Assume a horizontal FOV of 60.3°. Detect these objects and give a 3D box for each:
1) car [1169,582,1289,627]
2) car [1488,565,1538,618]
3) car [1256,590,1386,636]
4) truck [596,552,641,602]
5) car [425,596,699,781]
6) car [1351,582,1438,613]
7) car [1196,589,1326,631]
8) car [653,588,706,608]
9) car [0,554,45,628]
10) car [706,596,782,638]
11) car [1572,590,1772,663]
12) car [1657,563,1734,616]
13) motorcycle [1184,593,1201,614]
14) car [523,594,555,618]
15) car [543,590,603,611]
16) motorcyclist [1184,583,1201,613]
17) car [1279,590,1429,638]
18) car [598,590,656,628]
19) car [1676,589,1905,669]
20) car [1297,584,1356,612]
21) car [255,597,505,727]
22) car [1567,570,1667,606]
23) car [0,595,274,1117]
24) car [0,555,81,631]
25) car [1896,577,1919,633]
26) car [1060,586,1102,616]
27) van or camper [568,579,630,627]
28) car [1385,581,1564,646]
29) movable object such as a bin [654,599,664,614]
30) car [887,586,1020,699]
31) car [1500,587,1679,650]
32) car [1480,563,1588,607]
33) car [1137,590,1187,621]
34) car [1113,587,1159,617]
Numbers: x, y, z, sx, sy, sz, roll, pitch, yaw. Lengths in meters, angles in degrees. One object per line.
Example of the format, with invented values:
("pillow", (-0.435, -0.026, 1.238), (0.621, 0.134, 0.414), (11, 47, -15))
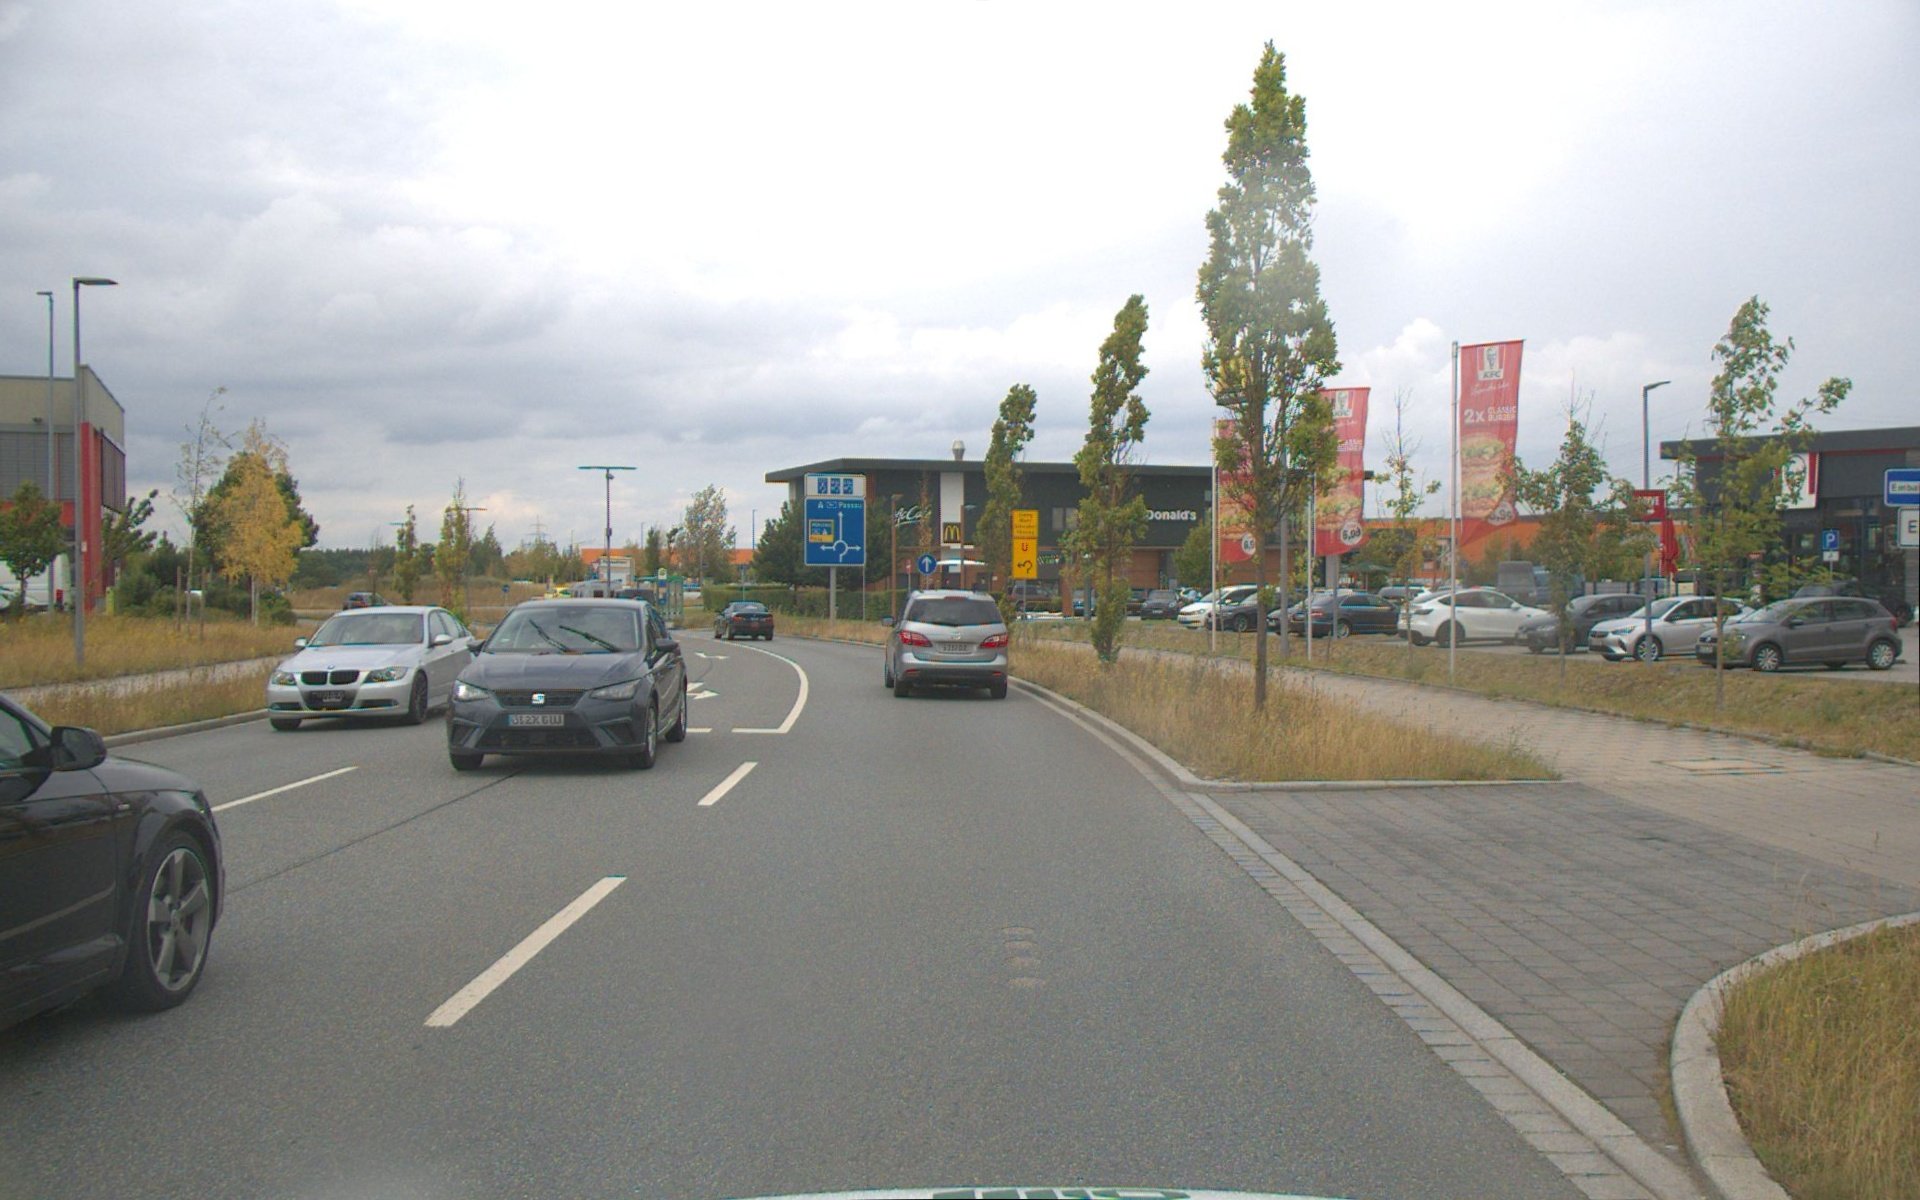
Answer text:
("car", (10.506, 0.160, 64.673), (4.289, 1.668, 1.924), (-1, 1, -23))
("car", (27.966, -0.475, 83.792), (2.226, 2.545, 7.332), (0, 1, 17))
("car", (12.546, 0.430, 57.516), (4.022, 1.463, 1.932), (-1, 1, -19))
("truck", (-28.014, -1.821, 136.053), (3.075, 3.975, 9.316), (-1, 0, -9))
("car", (-3.478, 0.695, 15.215), (1.793, 1.445, 4.242), (0, 0, -4))
("car", (24.251, -0.147, 92.265), (4.618, 1.685, 2.001), (-1, 0, 16))
("car", (11.320, 0.359, 62.300), (4.403, 1.461, 2.061), (-1, 1, -21))
("car", (-24.867, -0.189, 146.607), (4.525, 1.788, 1.992), (0, 0, -15))
("car", (-32.729, -0.281, 52.737), (5.984, 2.347, 2.195), (0, 0, -23))
("car", (-7.922, 0.580, 60.394), (1.818, 1.443, 4.198), (-1, 1, -21))
("car", (16.322, 0.584, 38.017), (3.788, 1.507, 1.899), (-2, 0, -7))
("car", (34.681, -0.509, 78.170), (2.474, 2.392, 5.696), (0, 1, 15))
("motorcycle", (14.203, 0.195, 100.968), (0.838, 1.266, 1.968), (0, 0, 13))
("car", (-28.145, 0.413, 110.649), (1.960, 1.542, 3.986), (-1, 0, -14))
("car", (-28.611, 0.028, 122.246), (1.962, 1.542, 3.981), (-1, 0, 39))
("motorcyclist", (14.198, -0.116, 100.982), (0.940, 1.864, 0.846), (0, 0, 13))
("car", (12.984, 0.431, 54.575), (4.446, 1.494, 2.022), (-1, 1, -18))
("car", (-16.687, 0.426, 82.721), (2.029, 1.858, 4.754), (0, 0, -22))
("car", (16.634, 0.561, 33.215), (3.685, 1.520, 1.888), (-1, 0, -6))
("car", (23.358, -0.107, 105.461), (1.965, 1.752, 3.975), (0, 0, 43))
("car", (-7.364, 0.720, 21.491), (1.799, 1.442, 4.497), (-1, 0, -3))
("car", (35.002, -0.613, 88.154), (1.850, 1.847, 4.620), (-1, 0, -42))
("car", (-3.561, 0.725, 4.507), (1.733, 1.463, 4.229), (-1, 0, -2))
("car", (-34.275, -0.236, 57.493), (6.316, 2.644, 2.229), (0, 0, -22))
("car", (29.209, 0.083, 47.167), (4.498, 1.545, 2.067), (-2, 1, -22))
("car", (7.229, 0.065, 98.648), (1.951, 1.747, 4.003), (0, 0, 12))
("van or camper", (-19.991, 0.166, 91.370), (2.274, 2.550, 5.164), (0, 0, -25))
("car", (14.844, 0.366, 47.800), (4.483, 1.673, 2.082), (-2, 1, -13))
("movable object such as a bin", (-16.927, 0.363, 93.018), (0.450, 0.812, 0.377), (0, 0, -26))
("car", (-0.174, 0.616, 25.880), (1.696, 1.628, 3.802), (1, 0, -6))
("car", (16.309, 0.474, 42.956), (3.913, 1.510, 1.936), (-1, 0, -9))
("car", (34.421, -0.883, 99.258), (5.908, 2.572, 2.280), (0, 1, 26))
("car", (9.273, 0.243, 75.865), (1.772, 1.336, 3.853), (0, 1, 15))
("car", (10.725, 0.105, 100.650), (2.071, 1.747, 4.233), (0, 0, 16))
